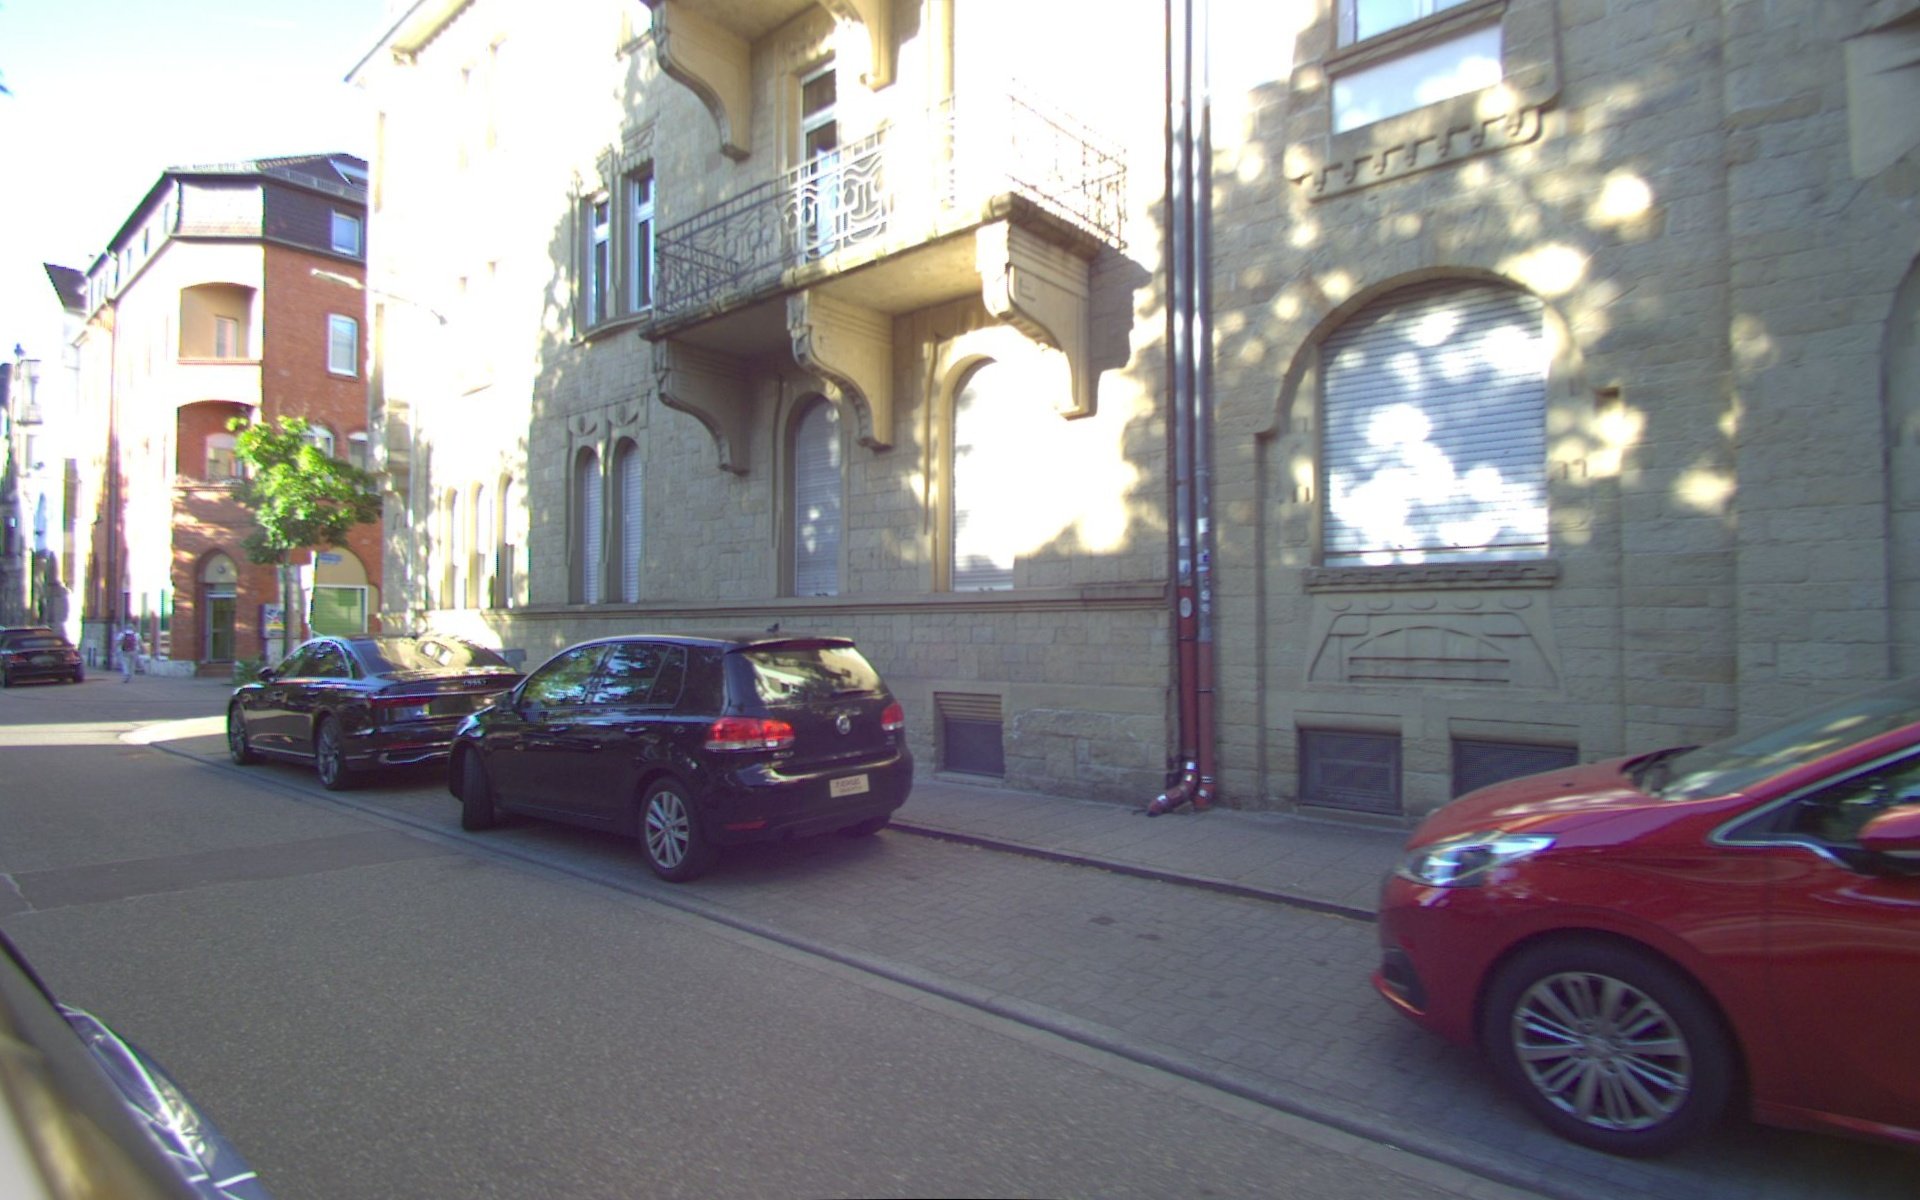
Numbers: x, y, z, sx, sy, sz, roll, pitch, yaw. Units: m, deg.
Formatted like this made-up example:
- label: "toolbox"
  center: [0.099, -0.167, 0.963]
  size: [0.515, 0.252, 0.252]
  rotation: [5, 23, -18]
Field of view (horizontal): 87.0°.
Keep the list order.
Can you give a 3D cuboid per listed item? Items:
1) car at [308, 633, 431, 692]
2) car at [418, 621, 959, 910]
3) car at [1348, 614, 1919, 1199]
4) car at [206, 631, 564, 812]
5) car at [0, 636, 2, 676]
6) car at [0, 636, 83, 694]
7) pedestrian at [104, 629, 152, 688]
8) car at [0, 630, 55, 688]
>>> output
- label: "car"
  center: [-16.759, 1.700, 28.616]
  size: [4.656, 1.480, 1.618]
  rotation: [-1, -1, 41]
- label: "car"
  center: [-2.081, 0.893, 7.133]
  size: [4.024, 1.464, 1.679]
  rotation: [-1, -2, 40]
- label: "car"
  center: [3.249, 0.765, 2.668]
  size: [3.833, 1.464, 1.613]
  rotation: [-2, -2, 39]
- label: "car"
  center: [-6.324, 1.099, 10.847]
  size: [4.895, 1.437, 1.792]
  rotation: [-1, 0, 41]
- label: "car"
  center: [-37.756, 2.149, 38.607]
  size: [3.591, 1.481, 1.549]
  rotation: [-2, -2, 43]
- label: "car"
  center: [-26.179, 1.778, 28.525]
  size: [4.331, 1.421, 1.618]
  rotation: [-1, 0, 41]
- label: "pedestrian"
  center: [-23.474, 1.643, 28.562]
  size: [1.053, 1.589, 0.879]
  rotation: [0, -1, 41]
- label: "car"
  center: [-30.350, 1.831, 32.226]
  size: [4.346, 1.693, 1.653]
  rotation: [-1, -1, 39]
